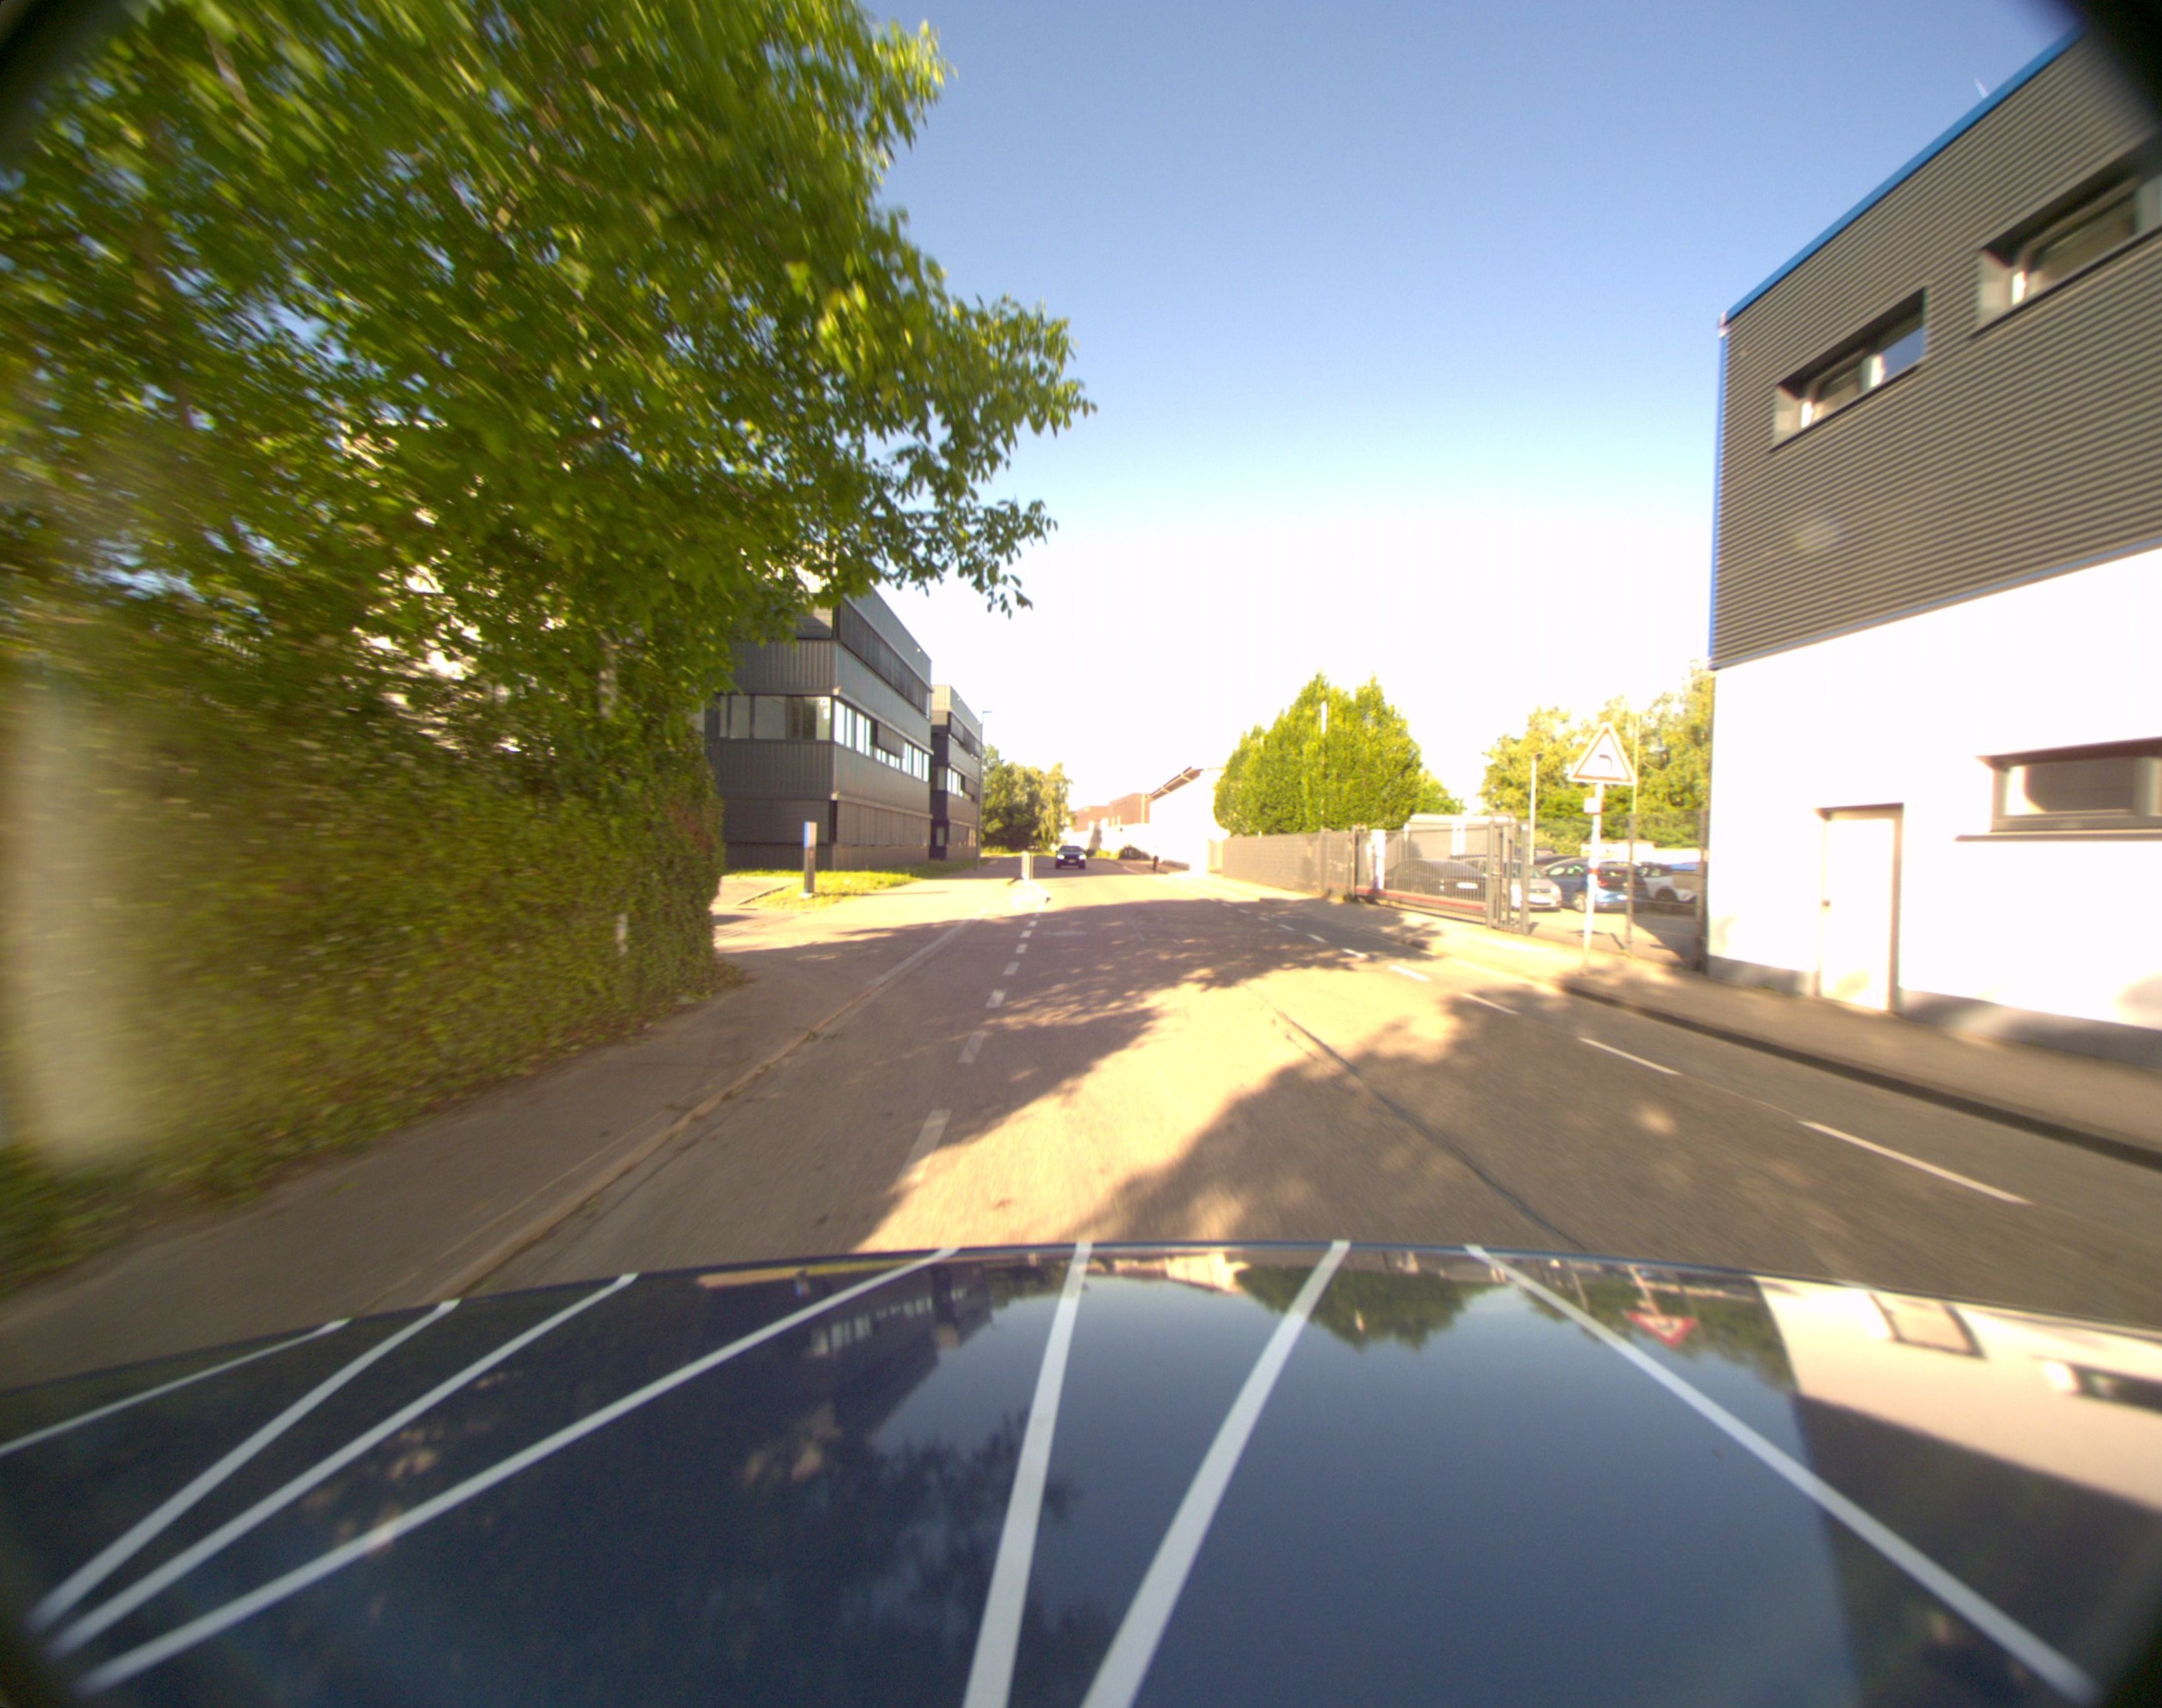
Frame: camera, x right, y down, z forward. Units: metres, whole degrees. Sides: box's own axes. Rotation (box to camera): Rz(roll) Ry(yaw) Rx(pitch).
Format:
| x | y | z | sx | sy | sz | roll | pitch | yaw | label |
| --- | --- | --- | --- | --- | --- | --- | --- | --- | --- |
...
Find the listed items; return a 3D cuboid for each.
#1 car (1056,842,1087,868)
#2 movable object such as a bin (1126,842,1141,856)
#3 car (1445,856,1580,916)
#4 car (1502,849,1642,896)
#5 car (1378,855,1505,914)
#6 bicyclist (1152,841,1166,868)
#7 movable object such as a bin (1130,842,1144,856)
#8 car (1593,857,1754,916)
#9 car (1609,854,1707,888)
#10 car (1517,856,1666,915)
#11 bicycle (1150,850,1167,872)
| x | y | z | sx | sy | sz | roll | pitch | yaw | label |
| --- | --- | --- | --- | --- | --- | --- | --- | --- | --- |
| -0.699 | 0.042 | 53.416 | 2.037 | 1.624 | 4.611 | 1 | 2 | -2 | car |
| 5.834 | -0.568 | 84.064 | 1.365 | 1.463 | 1.287 | 1 | 1 | -12 | movable object such as a bin |
| 13.631 | 0.943 | 24.292 | 1.874 | 1.597 | 3.998 | 2 | 1 | -2 | car |
| 18.366 | 0.675 | 28.554 | 3.997 | 1.531 | 1.875 | 2 | 1 | 0 | car |
| 11.035 | 0.873 | 23.622 | 1.874 | 1.531 | 3.998 | 2 | 1 | -2 | car |
| 4.756 | 0.038 | 46.428 | 0.748 | 1.619 | 0.833 | 1 | 1 | -2 | bicyclist |
| 6.118 | -0.538 | 82.710 | 1.203 | 1.463 | 1.371 | 1 | 1 | -12 | movable object such as a bin |
| 18.805 | 0.978 | 24.368 | 1.874 | 1.582 | 3.998 | 2 | 1 | -2 | car |
| 27.999 | 0.803 | 37.038 | 1.780 | 1.449 | 4.000 | 1 | 1 | 3 | car |
| 16.055 | 0.935 | 24.184 | 1.874 | 1.568 | 3.998 | 2 | 1 | -2 | car |
| 4.748 | 0.433 | 46.666 | 0.669 | 1.281 | 2.171 | 1 | 1 | -2 | bicycle |
